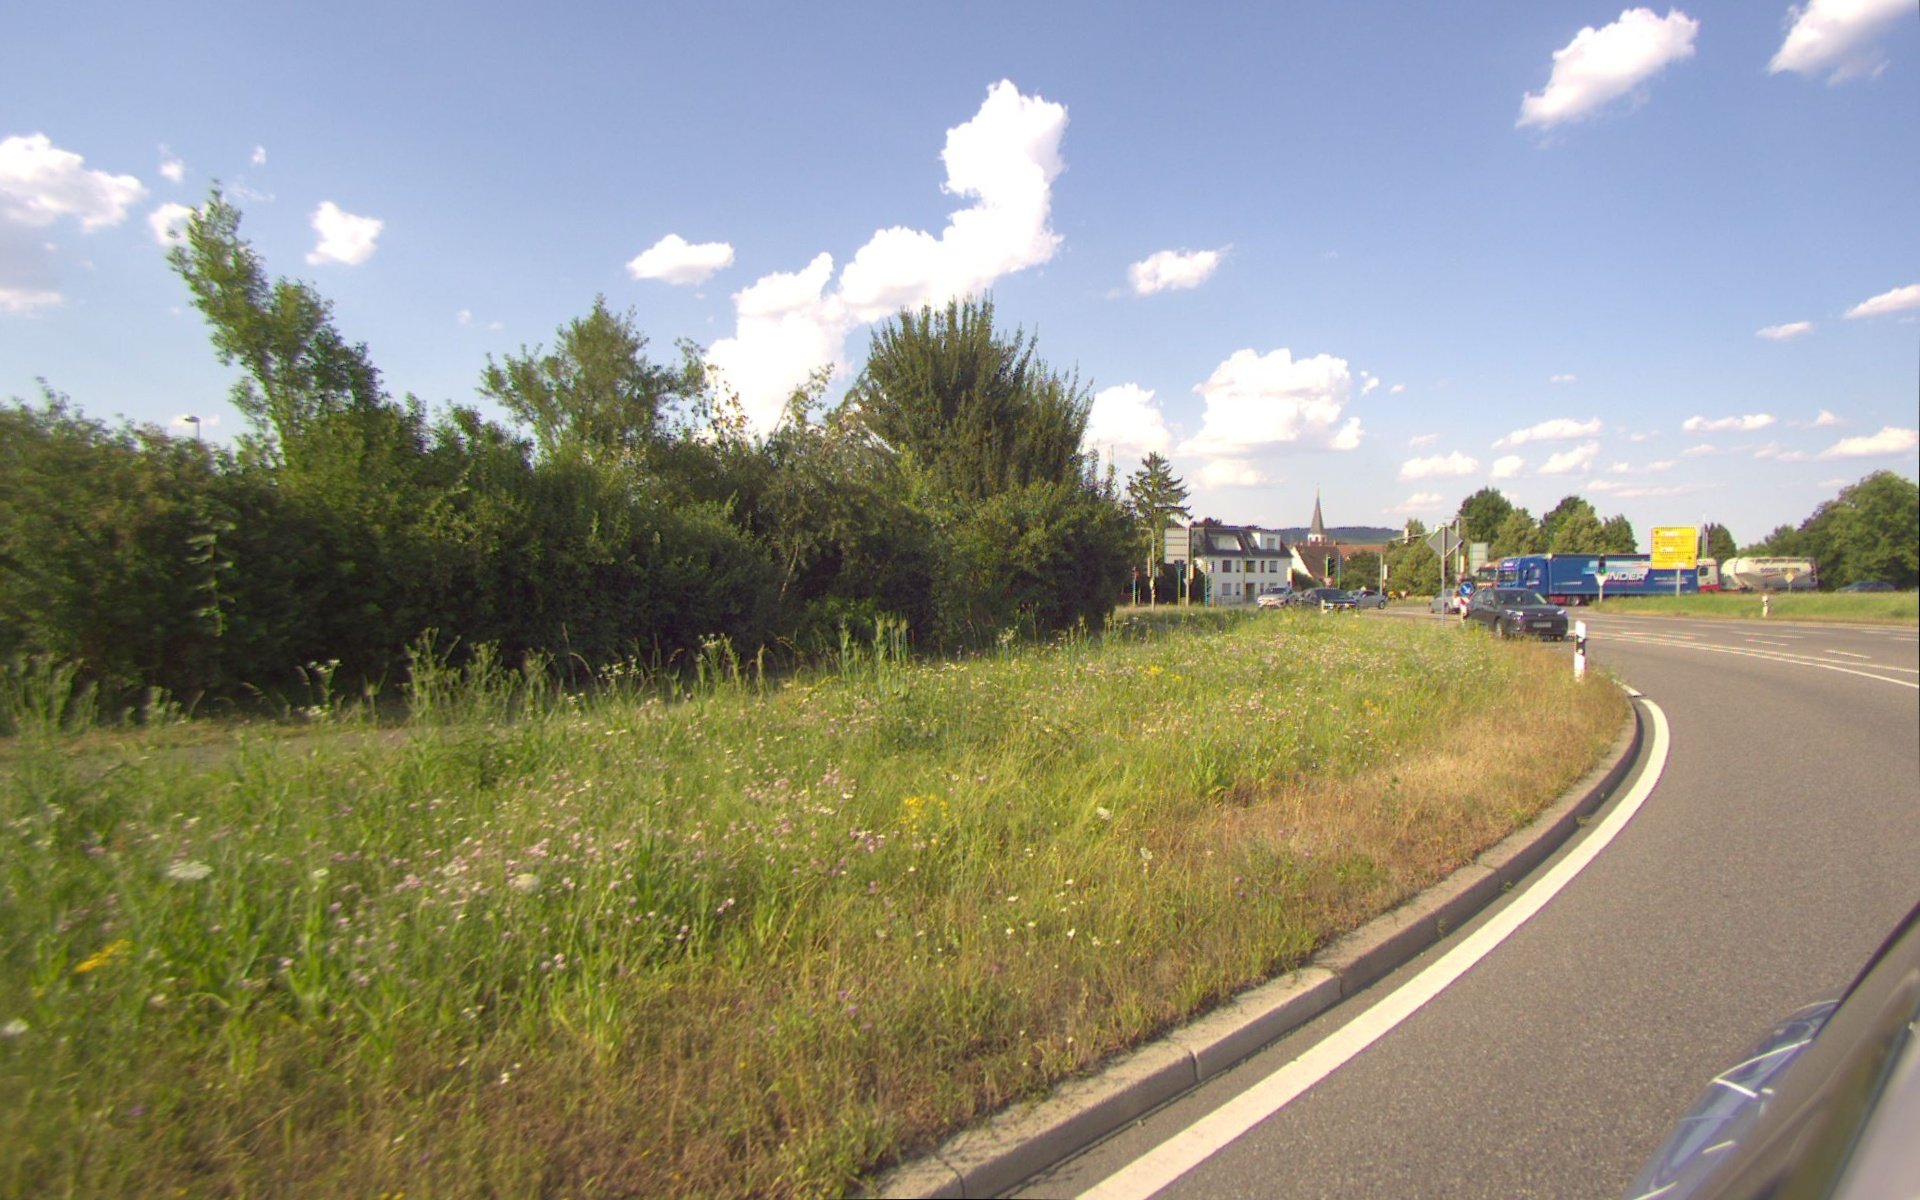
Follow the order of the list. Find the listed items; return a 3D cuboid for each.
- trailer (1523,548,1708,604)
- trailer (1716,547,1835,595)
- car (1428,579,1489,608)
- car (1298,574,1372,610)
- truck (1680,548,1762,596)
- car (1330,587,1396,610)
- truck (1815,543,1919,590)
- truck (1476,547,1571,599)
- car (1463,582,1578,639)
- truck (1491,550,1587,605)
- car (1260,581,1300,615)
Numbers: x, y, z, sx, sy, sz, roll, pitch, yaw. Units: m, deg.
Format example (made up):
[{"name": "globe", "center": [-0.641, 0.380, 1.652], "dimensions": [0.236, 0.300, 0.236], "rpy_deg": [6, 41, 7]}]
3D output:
[{"name": "trailer", "center": [51.537, -1.894, 79.641], "dimensions": [13.465, 4.056, 3.425], "rpy_deg": [-1, 0, -11]}, {"name": "trailer", "center": [69.420, -2.440, 86.190], "dimensions": [9.328, 3.826, 2.269], "rpy_deg": [-1, -1, -11]}, {"name": "car", "center": [29.638, -0.370, 60.297], "dimensions": [1.788, 1.548, 4.345], "rpy_deg": [-1, -2, 5]}, {"name": "car", "center": [18.165, -0.355, 49.228], "dimensions": [1.742, 1.633, 4.548], "rpy_deg": [-1, 0, -1]}, {"name": "truck", "center": [64.066, -2.329, 85.218], "dimensions": [5.568, 3.853, 2.266], "rpy_deg": [-1, 0, -11]}, {"name": "car", "center": [29.341, -0.120, 73.781], "dimensions": [3.918, 1.504, 2.003], "rpy_deg": [-3, 0, -11]}, {"name": "truck", "center": [81.669, -2.981, 88.806], "dimensions": [12.632, 3.822, 2.534], "rpy_deg": [-1, -1, -10]}, {"name": "truck", "center": [45.817, -2.181, 82.338], "dimensions": [6.525, 4.095, 2.544], "rpy_deg": [-1, 0, -10]}, {"name": "car", "center": [17.668, 0.307, 32.164], "dimensions": [1.760, 1.650, 4.456], "rpy_deg": [-1, 0, 10]}, {"name": "truck", "center": [44.849, -1.735, 78.474], "dimensions": [5.485, 4.056, 3.382], "rpy_deg": [-1, 0, -11]}, {"name": "car", "center": [20.543, -0.176, 64.840], "dimensions": [1.887, 1.972, 4.337], "rpy_deg": [-3, 0, 24]}]
